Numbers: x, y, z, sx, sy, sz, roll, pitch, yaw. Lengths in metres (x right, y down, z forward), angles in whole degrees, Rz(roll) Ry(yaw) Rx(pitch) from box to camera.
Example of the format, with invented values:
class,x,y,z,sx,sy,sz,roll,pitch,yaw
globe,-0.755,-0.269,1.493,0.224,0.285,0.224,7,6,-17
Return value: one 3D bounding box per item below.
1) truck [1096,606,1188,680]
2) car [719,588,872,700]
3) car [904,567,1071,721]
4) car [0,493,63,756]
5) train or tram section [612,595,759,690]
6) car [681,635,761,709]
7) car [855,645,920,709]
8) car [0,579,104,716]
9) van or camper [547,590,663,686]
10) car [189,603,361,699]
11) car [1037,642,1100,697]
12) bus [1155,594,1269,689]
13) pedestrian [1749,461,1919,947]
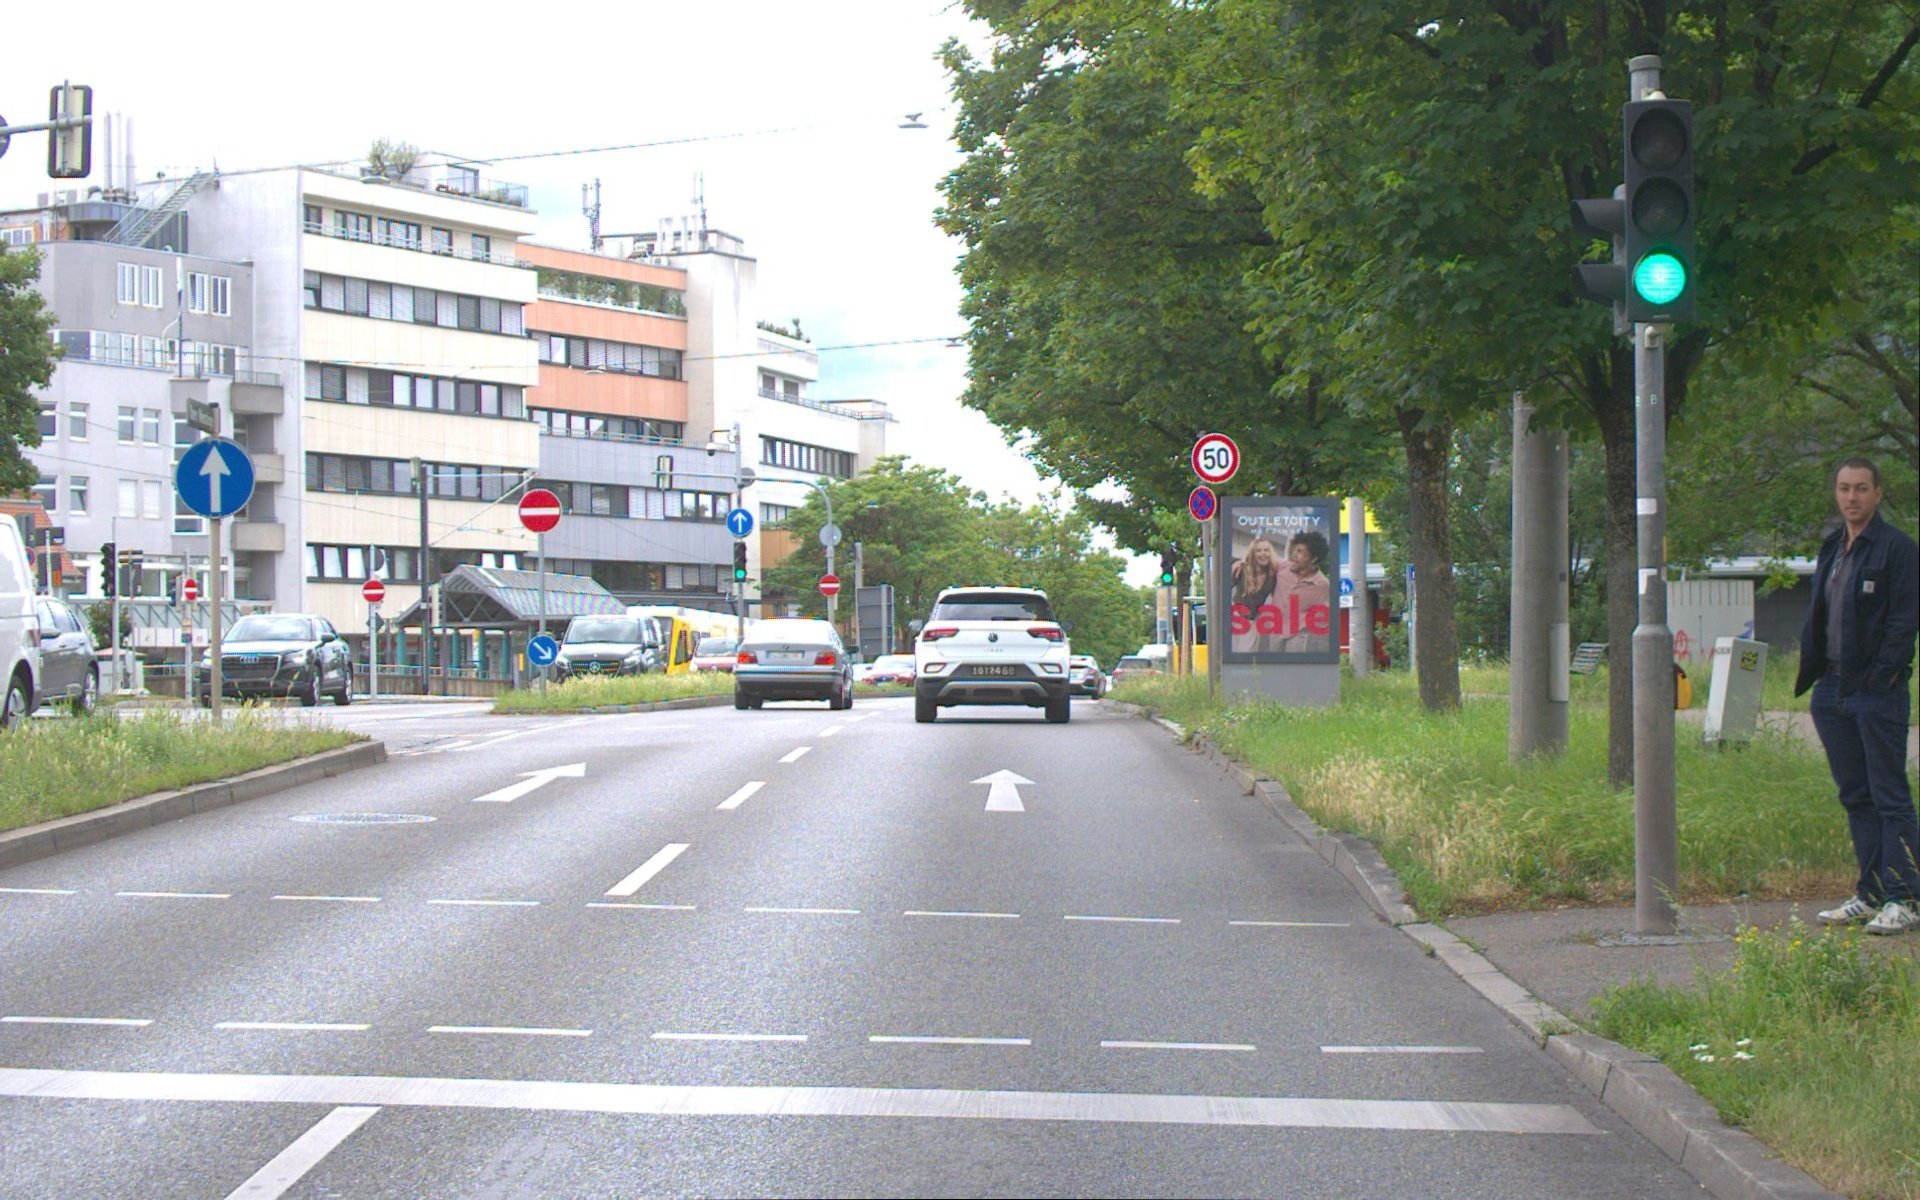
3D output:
class,x,y,z,sx,sy,sz,roll,pitch,yaw
truck,10.592,2.513,197.998,2.955,4.066,16.592,0,-1,11
car,-2.466,0.638,52.387,1.700,1.510,3.735,0,2,7
car,0.363,0.473,40.142,1.700,1.543,3.736,3,2,3
car,-8.220,0.189,25.322,1.836,1.995,4.857,1,1,1
train or tram section,-10.216,1.691,129.638,2.560,3.399,13.076,-1,-2,9
car,-7.447,2.230,107.527,1.993,2.006,4.835,1,2,1
car,-2.457,2.618,117.687,1.993,1.584,4.836,2,5,1
car,-11.002,0.535,38.834,1.744,1.459,4.000,-1,0,-2
van or camper,-7.466,0.818,72.773,1.926,1.931,5.248,1,-1,0
car,-10.789,0.776,54.404,1.861,1.423,4.000,0,0,1
car,3.542,2.255,112.409,1.770,1.565,4.285,0,2,-2
bus,8.827,1.469,119.274,2.955,3.180,9.923,0,-1,10
pedestrian,3.502,0.388,13.423,0.642,1.849,0.673,0,1,-5
